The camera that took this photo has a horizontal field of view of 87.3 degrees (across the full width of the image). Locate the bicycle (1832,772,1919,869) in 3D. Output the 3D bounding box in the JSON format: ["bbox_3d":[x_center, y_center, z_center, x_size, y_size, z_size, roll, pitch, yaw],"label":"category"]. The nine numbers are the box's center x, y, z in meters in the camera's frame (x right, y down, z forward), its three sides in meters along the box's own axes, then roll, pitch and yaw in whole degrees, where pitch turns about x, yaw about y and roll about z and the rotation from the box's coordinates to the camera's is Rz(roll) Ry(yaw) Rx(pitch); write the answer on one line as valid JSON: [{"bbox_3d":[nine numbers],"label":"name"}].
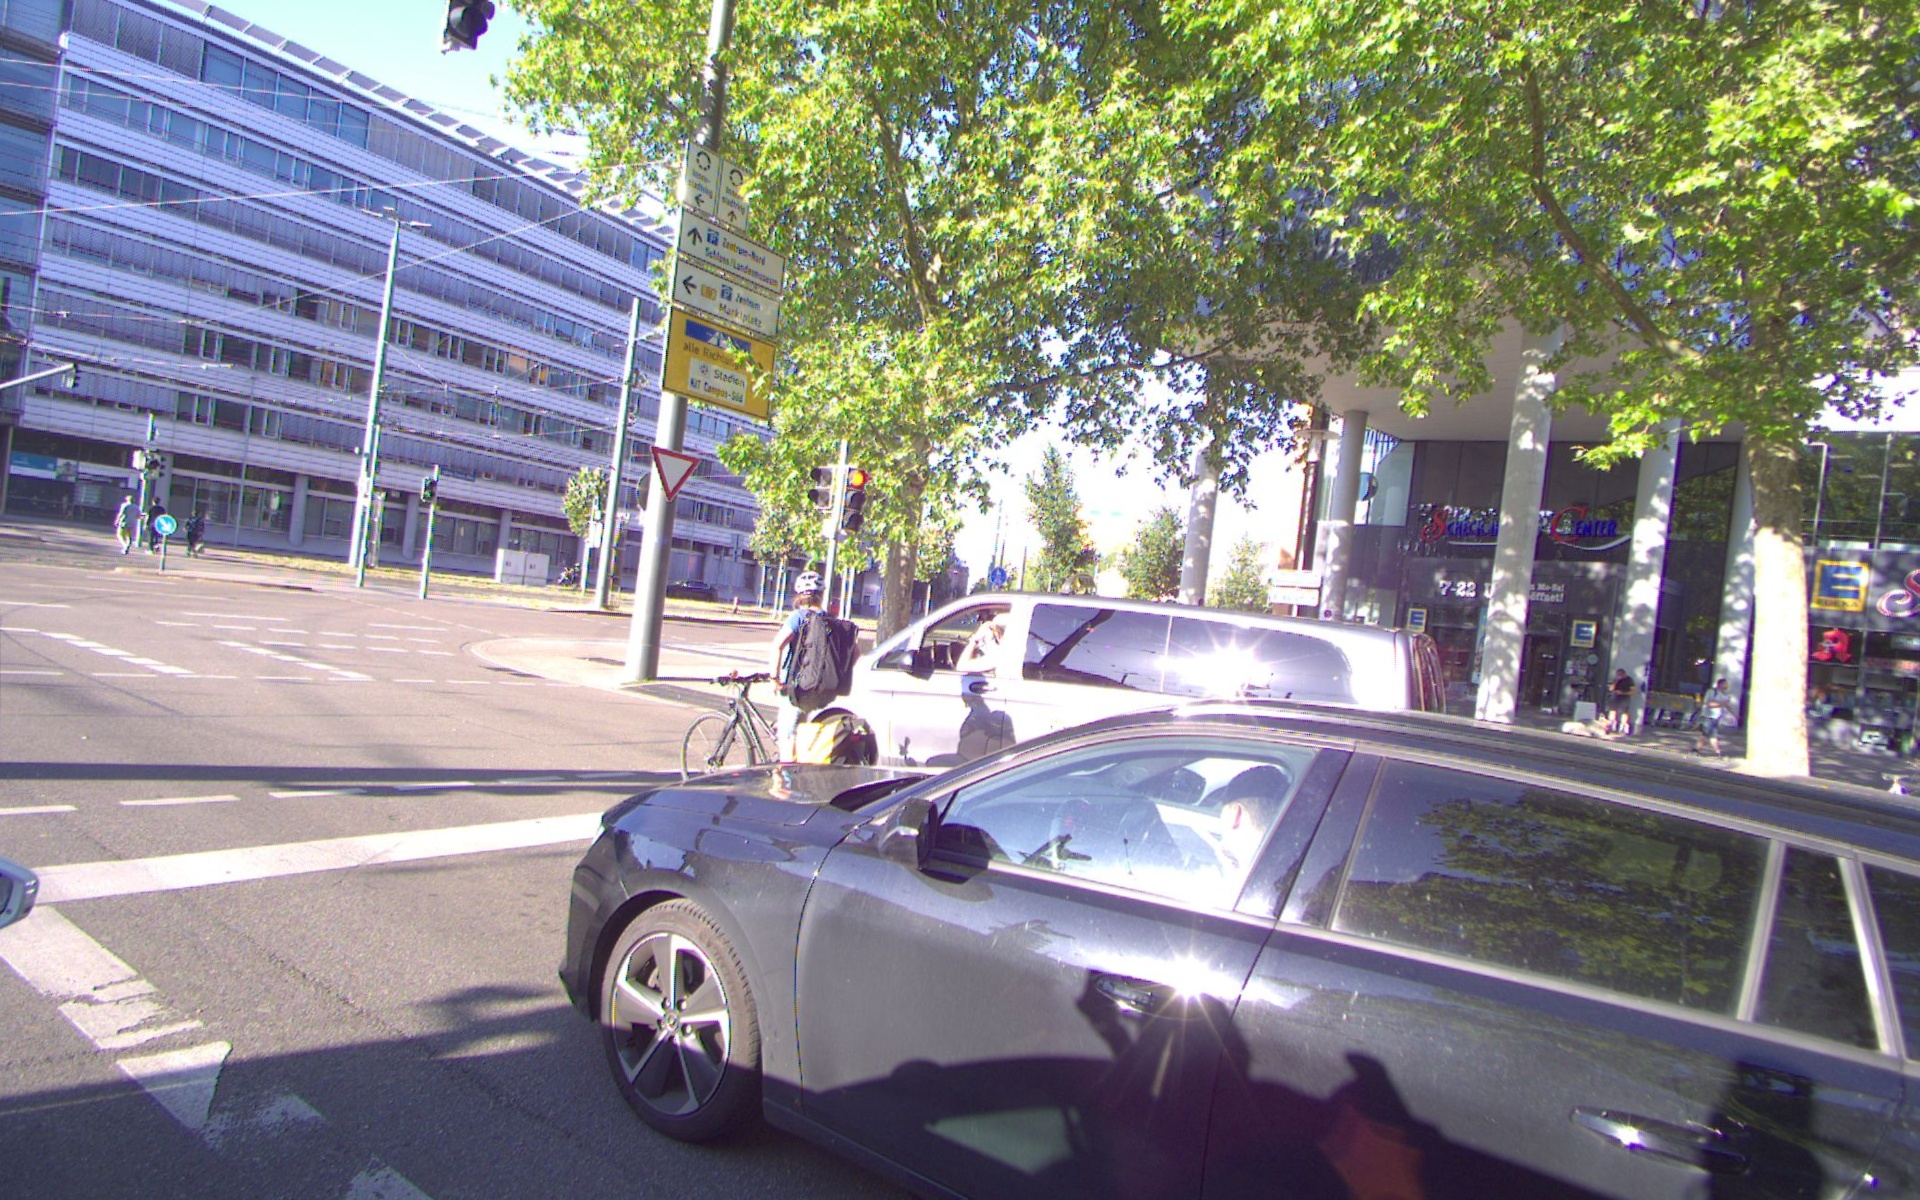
[{"bbox_3d":[10.537,2.478,11.100,1.233,0.898,0.462,7,1,32],"label":"bicycle"}]

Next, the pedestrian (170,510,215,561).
[{"bbox_3d":[-26.330,-2.215,34.514,0.883,1.583,0.947,7,1,39],"label":"pedestrian"}]

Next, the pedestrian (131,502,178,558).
[{"bbox_3d":[-26.976,-2.351,33.675,1.020,1.706,0.912,7,1,39],"label":"pedestrian"}]

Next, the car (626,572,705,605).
[{"bbox_3d":[-17.262,-0.662,59.120,1.758,1.415,4.157,7,0,37],"label":"car"}]

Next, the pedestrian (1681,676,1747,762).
[{"bbox_3d":[17.128,2.702,22.851,0.597,1.805,0.879,6,1,-34],"label":"pedestrian"}]

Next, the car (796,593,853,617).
[{"bbox_3d":[-9.861,0.382,73.339,1.758,1.411,3.984,7,1,37],"label":"car"}]

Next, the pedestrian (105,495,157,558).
[{"bbox_3d":[-26.126,-2.313,31.695,0.856,1.811,0.865,7,1,27],"label":"pedestrian"}]

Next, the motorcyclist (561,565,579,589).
[{"bbox_3d":[-22.341,-1.330,57.579,0.452,1.291,0.712,7,1,36],"label":"motorcyclist"}]

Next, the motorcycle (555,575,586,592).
[{"bbox_3d":[-22.323,-0.939,57.676,0.460,0.819,1.568,7,0,36],"label":"motorcycle"}]

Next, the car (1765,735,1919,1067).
[{"bbox_3d":[6.575,1.732,4.594,4.181,1.502,1.742,7,-2,31],"label":"car"}]

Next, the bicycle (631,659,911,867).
[{"bbox_3d":[-1.285,1.006,6.645,1.839,0.993,0.561,7,1,32],"label":"bicycle"}]

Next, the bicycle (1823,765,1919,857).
[{"bbox_3d":[11.494,2.607,12.359,0.460,0.938,1.210,6,0,-39],"label":"bicycle"}]

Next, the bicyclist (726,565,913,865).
[{"bbox_3d":[-0.884,0.691,6.372,0.766,1.714,0.632,7,1,32],"label":"bicyclist"}]

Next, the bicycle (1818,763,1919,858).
[{"bbox_3d":[11.196,2.544,12.086,0.437,0.930,1.210,6,0,-39],"label":"bicycle"}]

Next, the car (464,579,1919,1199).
[{"bbox_3d":[0.789,0.939,2.720,4.199,1.431,1.742,7,-2,32],"label":"car"}]

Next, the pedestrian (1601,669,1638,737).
[{"bbox_3d":[17.543,2.742,26.771,0.598,1.707,0.511,6,1,-41],"label":"pedestrian"}]

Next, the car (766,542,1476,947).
[{"bbox_3d":[1.097,0.829,7.952,5.012,2.004,1.939,7,0,31],"label":"car"}]
